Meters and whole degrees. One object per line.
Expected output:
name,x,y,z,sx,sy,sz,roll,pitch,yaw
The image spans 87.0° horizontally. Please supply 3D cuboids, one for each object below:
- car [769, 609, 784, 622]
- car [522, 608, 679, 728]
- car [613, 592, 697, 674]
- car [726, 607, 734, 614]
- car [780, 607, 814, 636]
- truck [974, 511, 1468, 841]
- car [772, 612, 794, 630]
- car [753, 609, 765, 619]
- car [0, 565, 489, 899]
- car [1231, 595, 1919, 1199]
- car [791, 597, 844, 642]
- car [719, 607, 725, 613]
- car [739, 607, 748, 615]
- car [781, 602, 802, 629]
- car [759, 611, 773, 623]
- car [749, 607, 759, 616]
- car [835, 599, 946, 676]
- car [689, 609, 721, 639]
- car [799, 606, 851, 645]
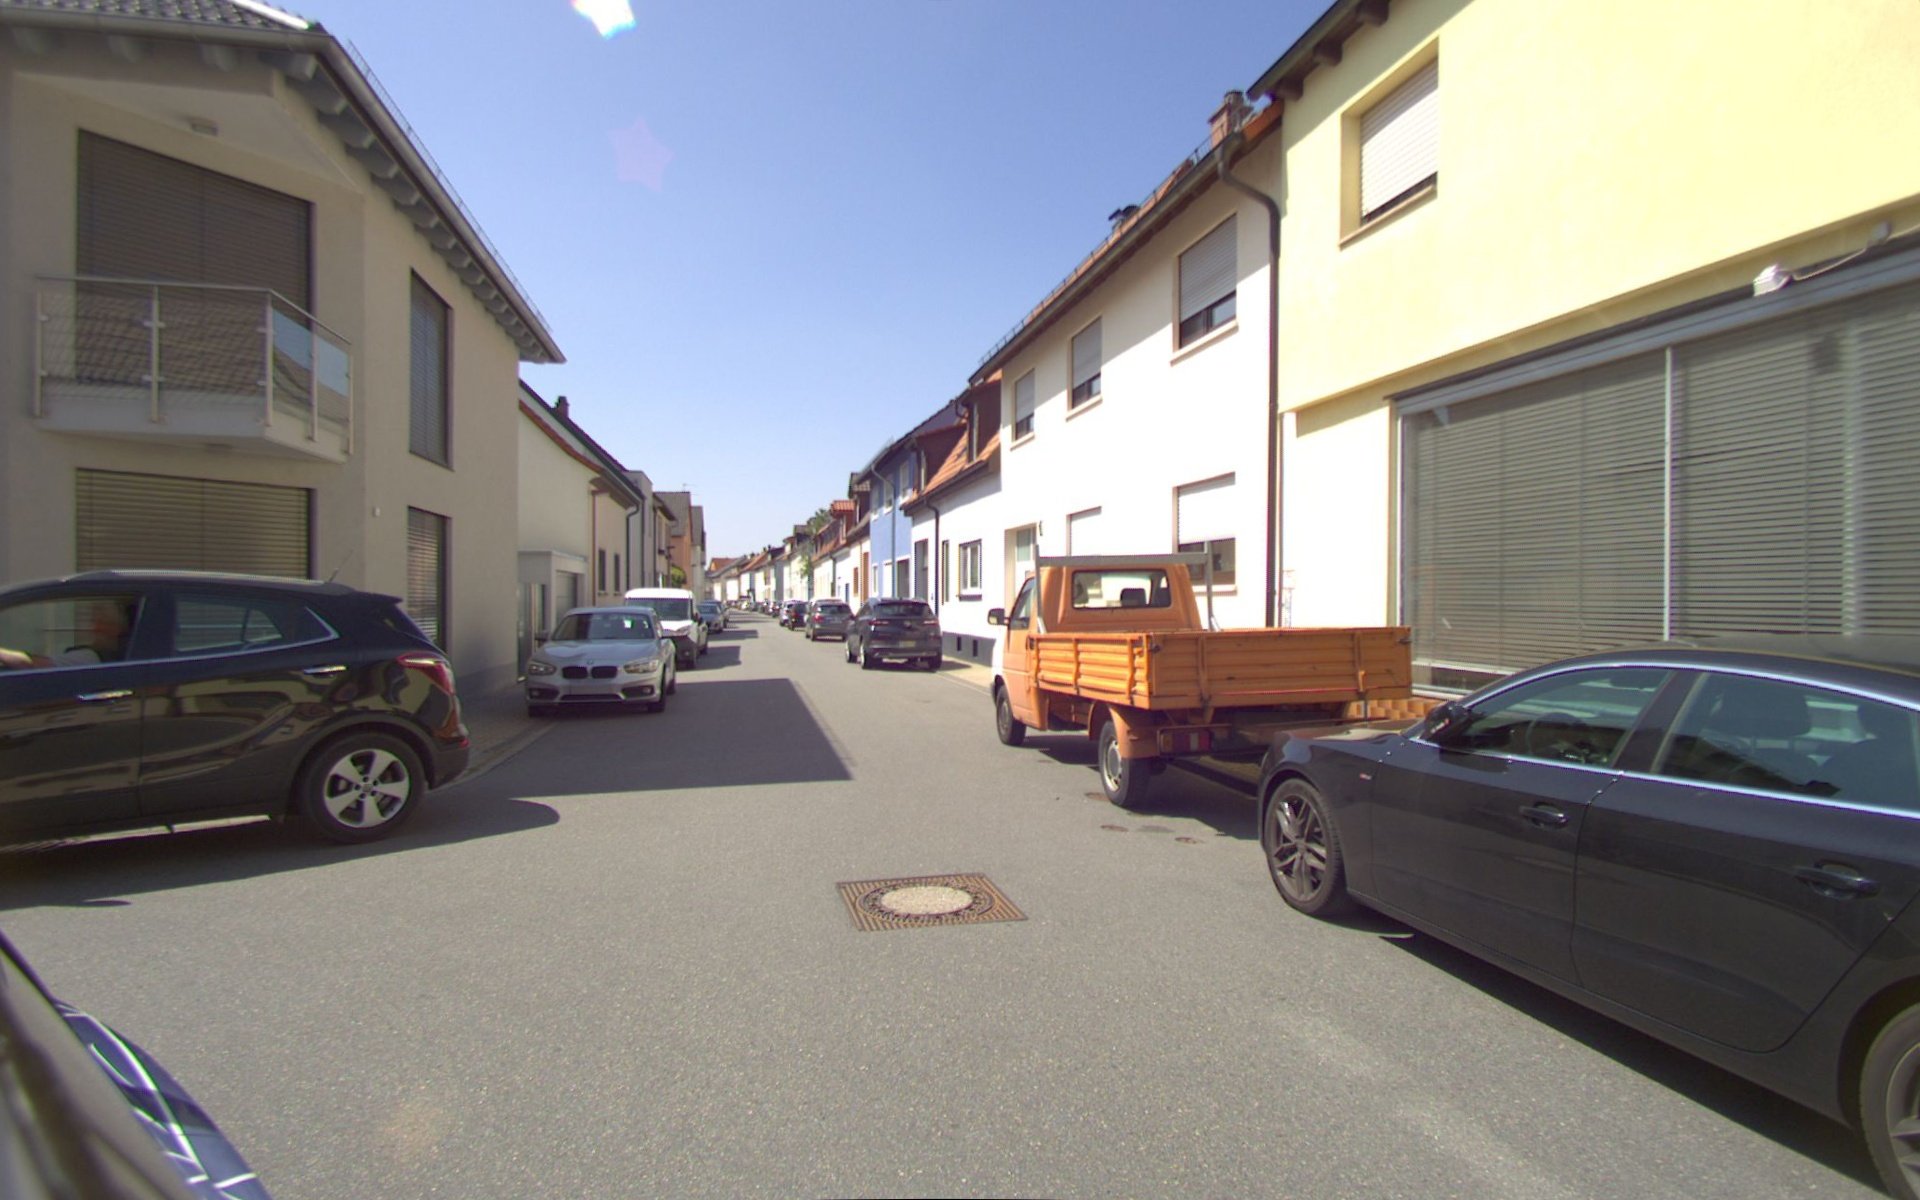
car,-16.840,1.438,92.691,1.275,1.193,2.971,1,-1,-12
car,-4.976,0.845,14.467,1.612,1.378,3.938,-1,0,-12
car,-6.996,0.725,23.492,1.657,1.743,3.797,1,-1,-14
car,-42.471,1.934,186.982,1.275,1.193,2.971,1,-1,-12
car,-9.236,1.187,57.129,1.650,1.586,4.119,1,-1,-13
truck,1.742,0.469,8.921,2.153,2.029,5.092,1,0,-12
car,-11.168,1.308,63.715,1.275,1.084,2.771,1,-1,-12
car,-23.613,1.652,118.649,1.275,1.193,2.971,1,-1,-12
car,-5.105,0.651,5.581,1.763,1.595,4.219,-2,-2,44
car,2.953,0.741,3.409,1.896,1.404,4.644,3,-1,-13
car,-6.915,0.908,48.735,1.966,2.029,4.012,1,1,-16
car,-48.447,1.944,206.083,1.275,1.193,2.971,1,-1,-12
car,-33.534,1.755,156.822,1.275,1.193,2.971,1,-1,-12
car,-11.907,1.082,71.424,1.275,1.845,2.971,1,-1,-12
car,-19.890,1.705,103.577,1.275,1.193,2.971,1,-1,-12
car,-28.670,1.600,140.804,1.275,1.193,2.971,1,-1,-12
car,-1.727,0.829,23.735,1.819,1.626,4.011,1,-1,-15
car,-12.602,1.152,50.108,1.497,1.436,3.874,1,-1,-14
car,-5.471,0.996,40.684,1.697,1.513,4.225,1,-1,-13
